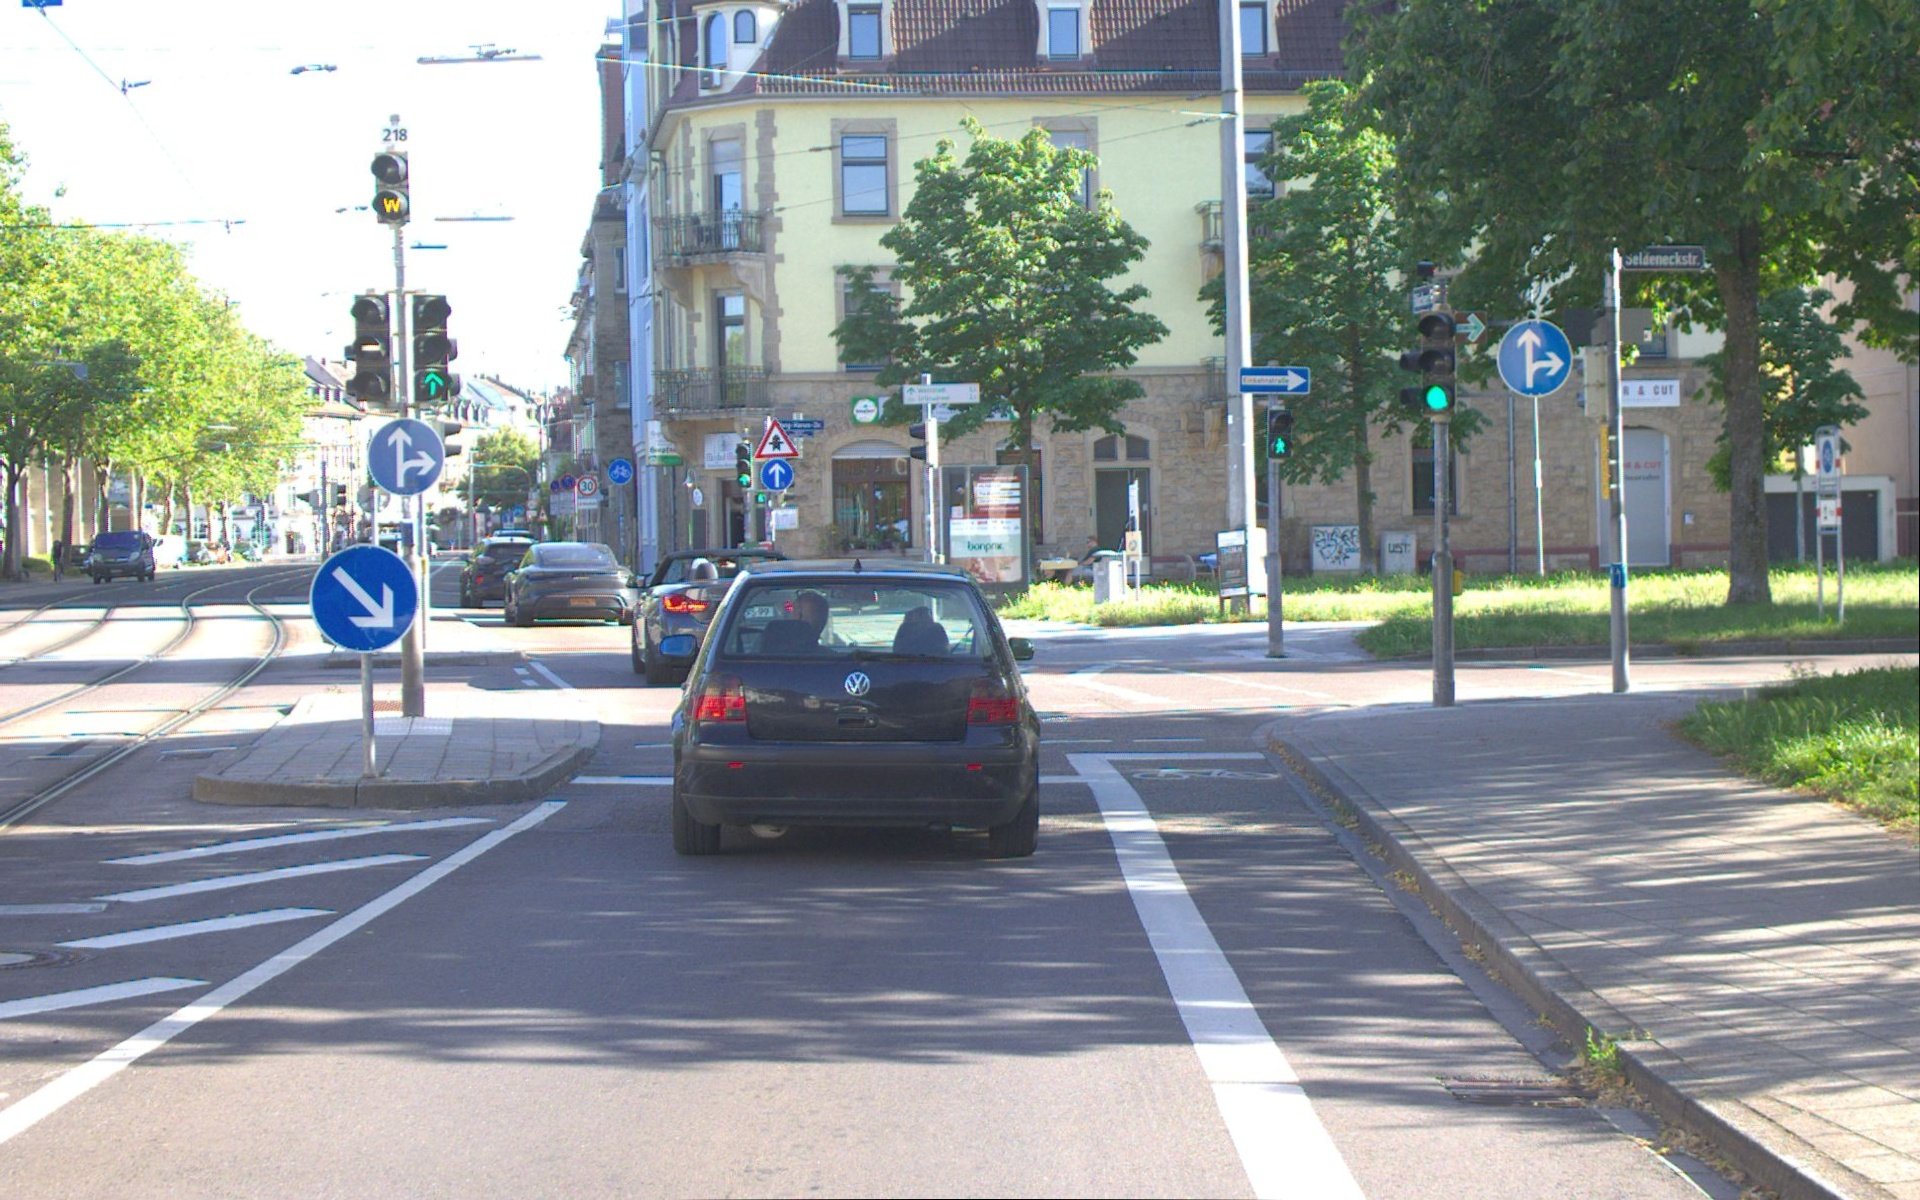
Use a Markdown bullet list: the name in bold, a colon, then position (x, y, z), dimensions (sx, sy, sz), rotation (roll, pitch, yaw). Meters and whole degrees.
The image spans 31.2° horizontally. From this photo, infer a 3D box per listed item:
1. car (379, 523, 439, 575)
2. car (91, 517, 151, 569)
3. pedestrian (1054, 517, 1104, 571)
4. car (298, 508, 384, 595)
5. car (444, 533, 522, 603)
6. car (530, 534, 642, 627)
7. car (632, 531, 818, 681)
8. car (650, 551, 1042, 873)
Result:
- **car**: position (-16.164, -1.499, 100.823), dimensions (1.680, 1.448, 3.380), rotation (-2, 1, -9)
- **car**: position (-30.840, -2.097, 126.419), dimensions (1.971, 1.809, 4.298), rotation (-2, 1, -12)
- **pedestrian**: position (2.697, -1.274, 77.912), dimensions (0.979, 1.183, 0.743), rotation (-1, 1, -8)
- **car**: position (-13.977, -1.111, 77.822), dimensions (1.787, 1.853, 4.001), rotation (-2, 2, -9)
- **car**: position (-10.363, -0.711, 74.542), dimensions (1.569, 1.306, 3.501), rotation (-2, 4, -9)
- **car**: position (-6.210, -0.346, 56.846), dimensions (1.569, 1.306, 3.648), rotation (-2, 4, -10)
- **car**: position (-2.403, 0.014, 34.470), dimensions (1.634, 1.367, 3.758), rotation (-2, 1, -7)
- **car**: position (-0.590, 0.467, 17.151), dimensions (1.716, 1.398, 4.007), rotation (0, 1, -3)
